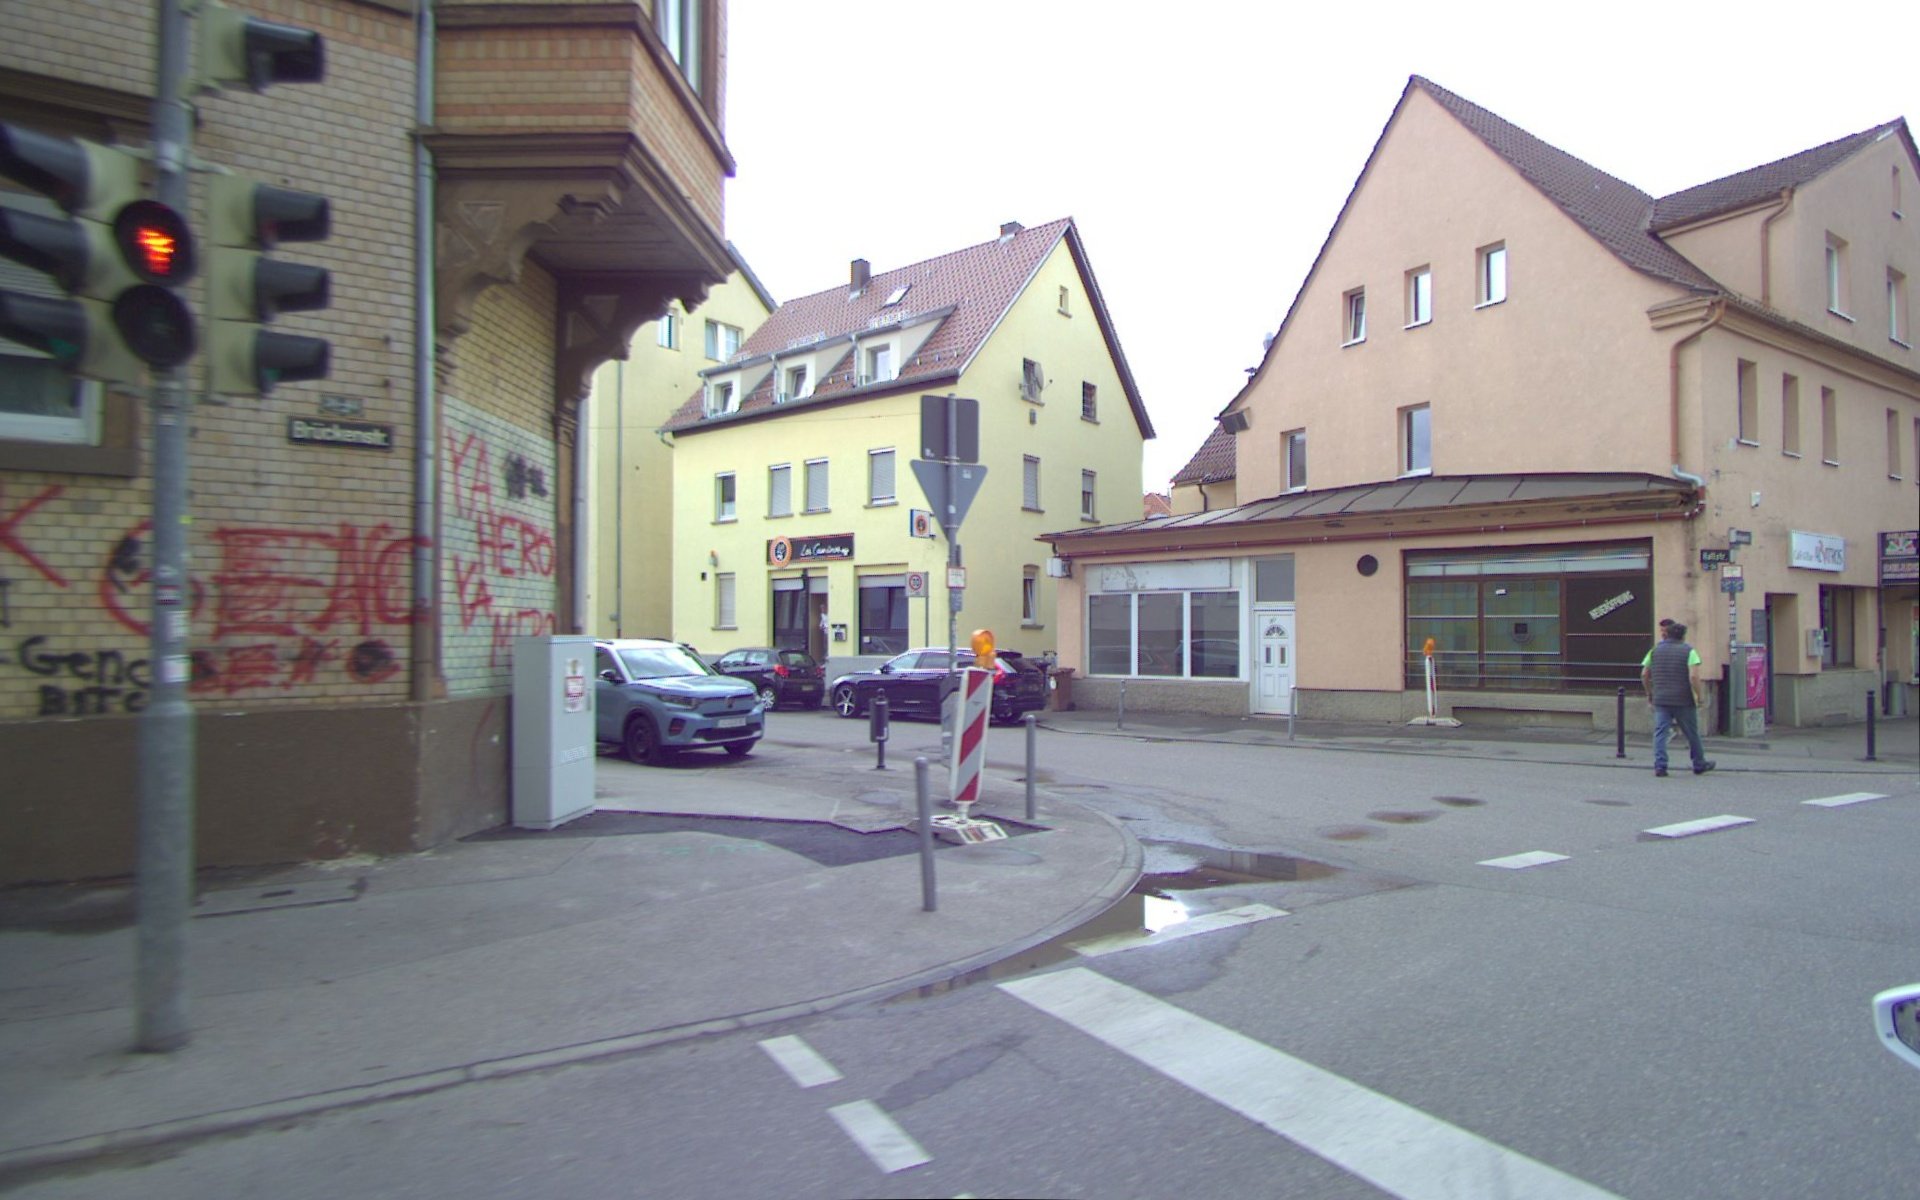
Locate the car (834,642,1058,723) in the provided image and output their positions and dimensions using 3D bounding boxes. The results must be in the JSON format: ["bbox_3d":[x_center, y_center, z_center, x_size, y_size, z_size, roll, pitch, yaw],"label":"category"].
[{"bbox_3d":[-0.345,1.582,20.298,4.320,1.462,1.904,-2,-3,38],"label":"car"}]

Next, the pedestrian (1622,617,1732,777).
[{"bbox_3d":[8.367,1.096,11.723,0.972,1.777,0.735,1,-1,-32],"label":"pedestrian"}]

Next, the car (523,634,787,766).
[{"bbox_3d":[-4.307,1.273,13.980,3.665,1.571,1.768,-1,-2,39],"label":"car"}]

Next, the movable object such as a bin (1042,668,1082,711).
[{"bbox_3d":[2.222,1.941,21.926,0.562,0.890,0.723,2,-3,-29],"label":"movable object such as a bin"}]

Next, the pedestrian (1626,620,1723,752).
[{"bbox_3d":[9.891,1.155,13.902,1.144,1.740,0.734,1,-1,-33],"label":"pedestrian"}]

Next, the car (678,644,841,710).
[{"bbox_3d":[-4.840,1.787,24.152,3.625,1.462,1.906,-2,-3,35],"label":"car"}]

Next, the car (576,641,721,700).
[{"bbox_3d":[-8.338,1.832,26.856,3.615,1.462,1.906,-2,-3,35],"label":"car"}]
